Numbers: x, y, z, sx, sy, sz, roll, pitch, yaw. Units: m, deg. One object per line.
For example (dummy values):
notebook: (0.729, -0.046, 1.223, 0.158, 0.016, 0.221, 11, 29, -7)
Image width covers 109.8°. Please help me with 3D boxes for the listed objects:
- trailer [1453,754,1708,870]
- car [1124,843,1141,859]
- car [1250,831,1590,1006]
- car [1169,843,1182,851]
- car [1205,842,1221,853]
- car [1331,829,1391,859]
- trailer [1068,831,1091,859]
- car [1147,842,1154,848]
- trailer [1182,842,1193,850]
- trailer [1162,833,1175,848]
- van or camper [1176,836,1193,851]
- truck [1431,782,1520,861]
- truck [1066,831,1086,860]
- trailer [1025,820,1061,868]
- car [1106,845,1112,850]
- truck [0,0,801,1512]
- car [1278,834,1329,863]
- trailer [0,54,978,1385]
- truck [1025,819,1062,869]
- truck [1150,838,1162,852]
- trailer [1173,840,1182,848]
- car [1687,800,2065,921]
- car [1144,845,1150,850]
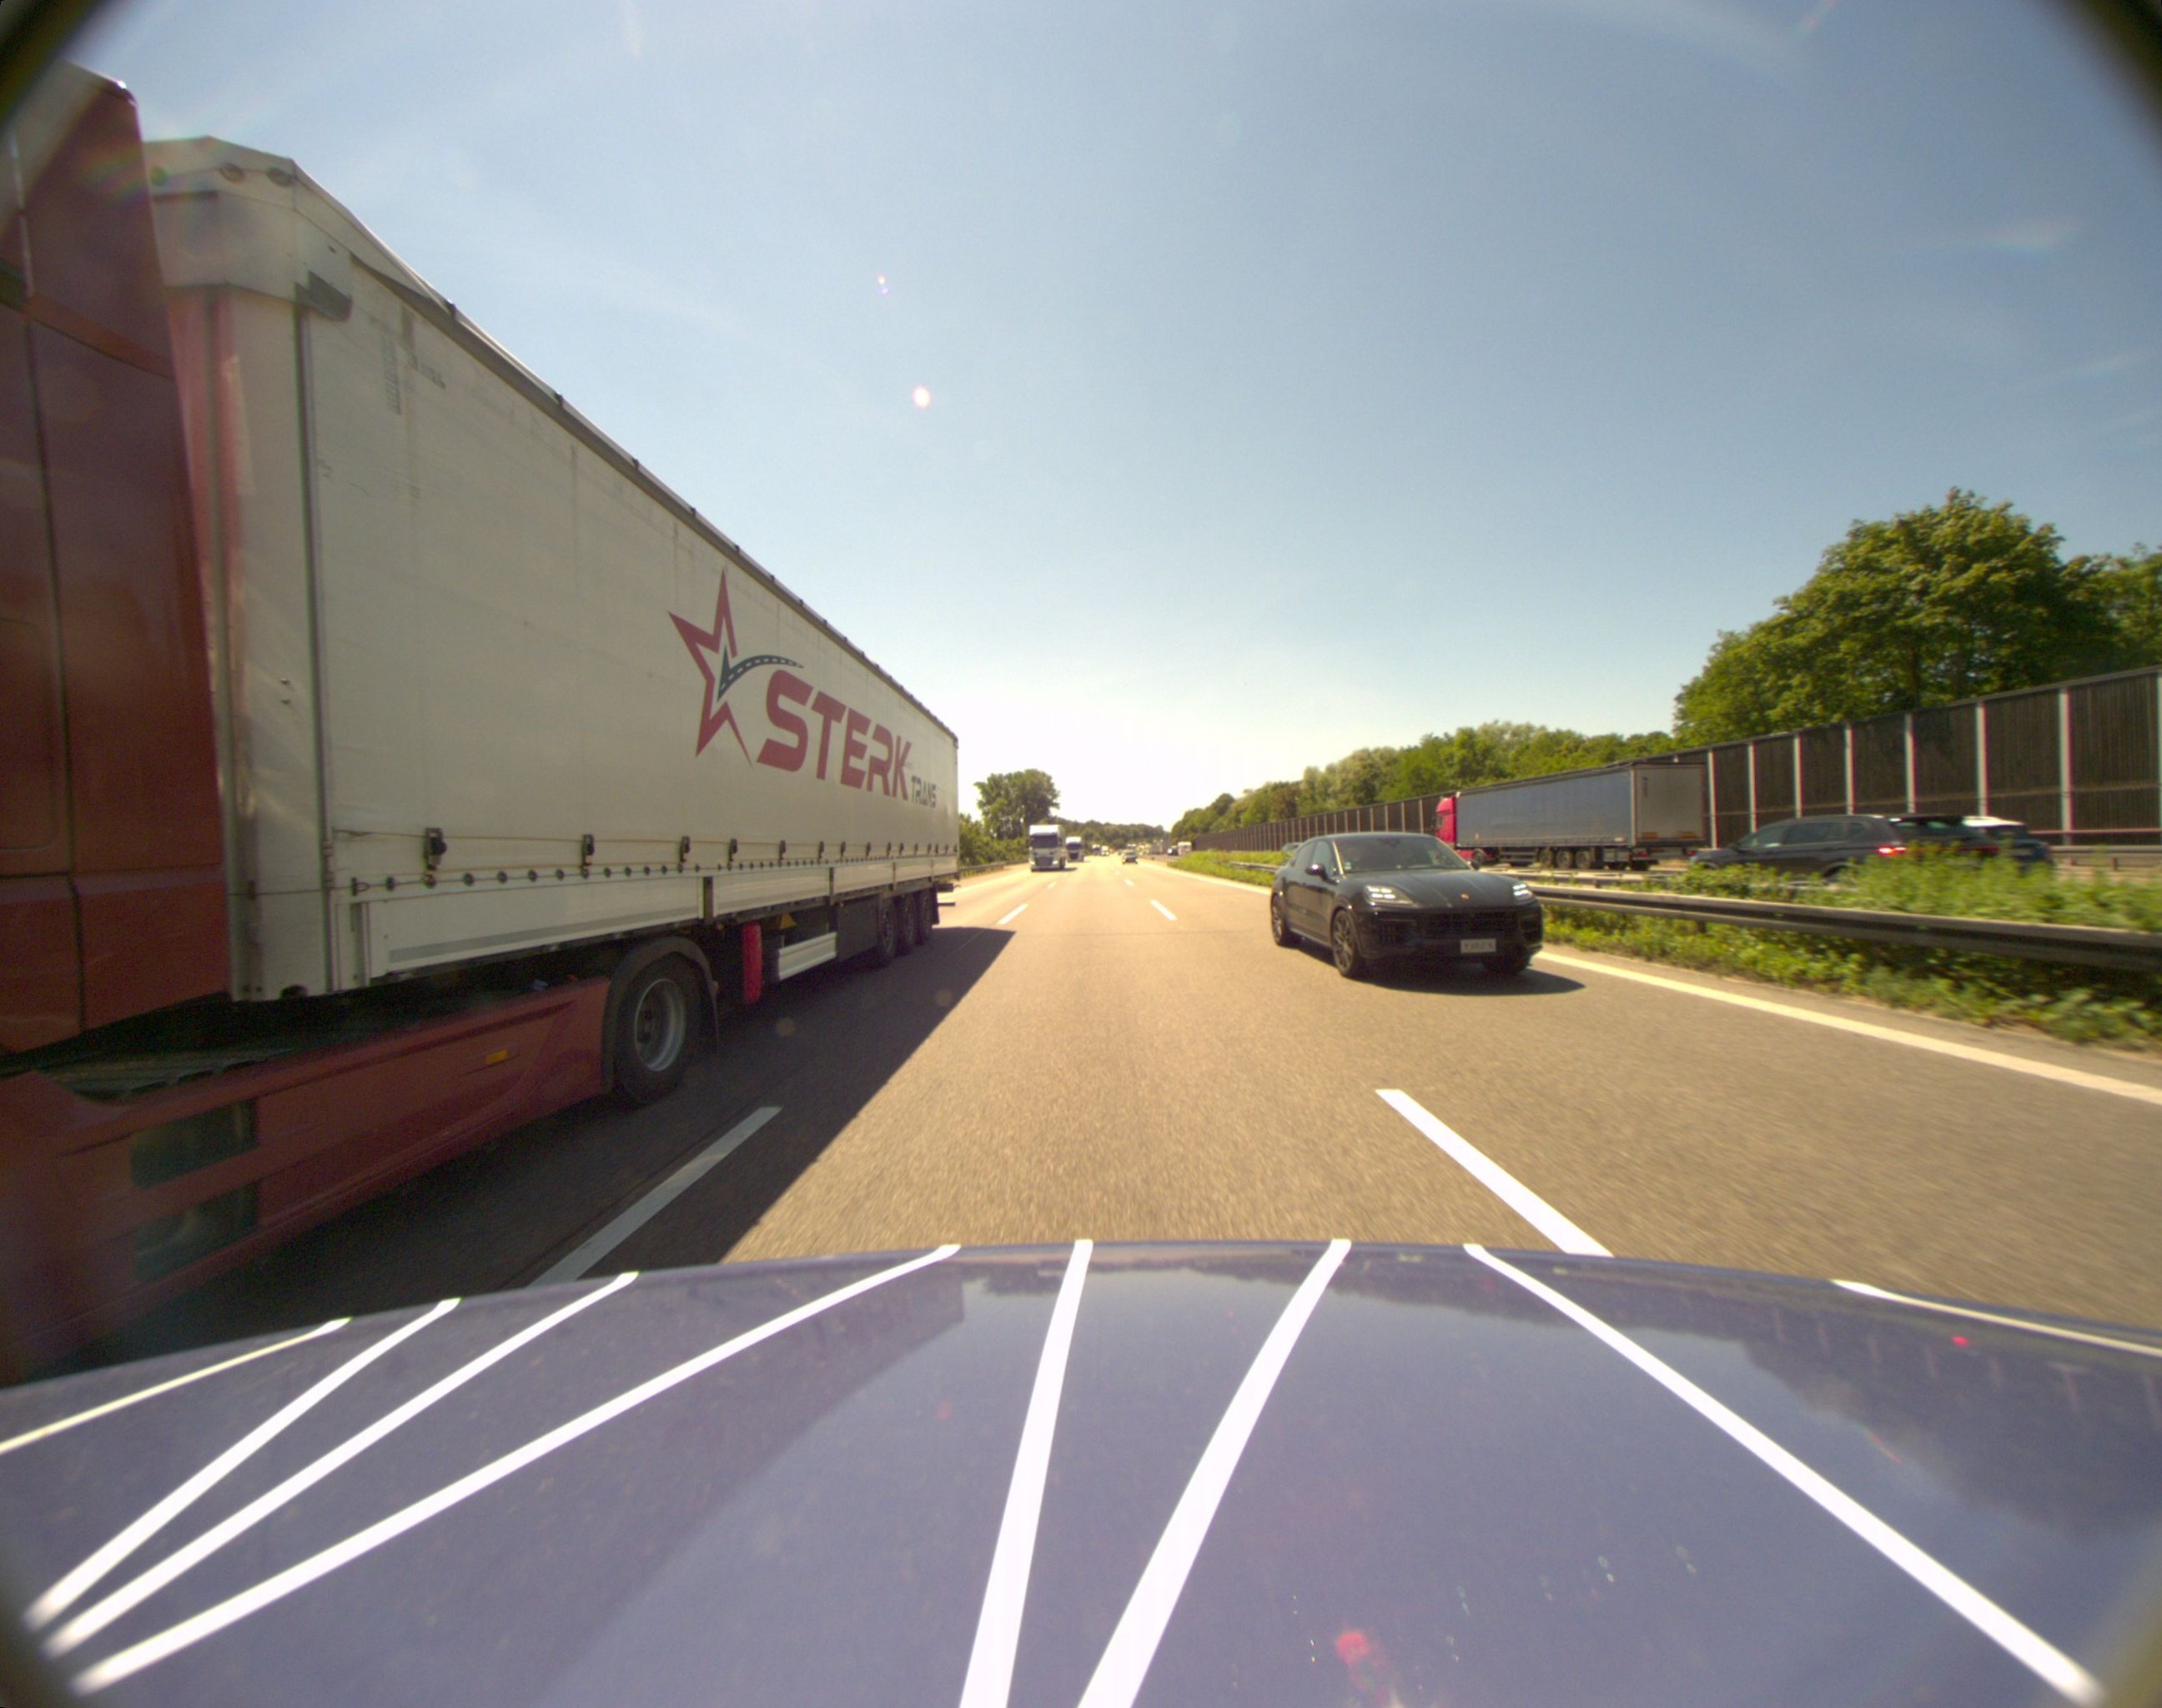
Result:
trailer: (21.397, -1.610, 34.358, 2.502, 4.064, 14.269, -2, 1, 2)
car: (6.130, -0.366, 90.817, 1.909, 1.717, 4.376, -2, 1, 3)
car: (3.858, 0.591, 10.101, 2.048, 1.616, 5.771, -2, 1, 1)
car: (16.342, -1.224, 131.626, 1.710, 1.347, 4.000, -2, 1, 1)
car: (20.188, -0.954, 116.275, 1.818, 1.590, 4.000, -2, 1, 1)
car: (18.218, -0.653, 49.763, 1.998, 1.805, 5.219, -2, 1, 1)
trailer: (-0.161, -1.490, 130.066, 2.541, 4.446, 14.164, -2, 1, 5)
car: (20.566, -2.685, 224.613, 1.923, 1.537, 4.582, -2, 1, 4)
trailer: (22.210, -1.583, 158.868, 1.731, 1.569, 3.092, 4, 1, 1)
trailer: (24.738, -3.780, 215.572, 2.346, 4.053, 14.210, -2, 1, 2)
van or camper: (22.292, -2.235, 164.069, 2.564, 2.897, 7.374, 4, 1, 1)
truck: (21.610, -1.712, 41.867, 2.493, 4.064, 4.677, -2, 1, 1)
truck: (-0.770, -1.393, 123.551, 2.541, 4.446, 5.574, -2, 1, 5)
trailer: (-3.444, -0.899, 72.258, 2.967, 4.082, 12.529, -2, 1, -1)
car: (8.917, -2.046, 241.286, 1.908, 1.717, 4.377, -2, 1, 5)
truck: (-4.044, -0.376, 3.248, 2.713, 4.065, 6.964, -2, 1, 2)
car: (14.111, -0.362, 48.463, 1.998, 1.710, 4.244, -2, 1, 1)
trailer: (-3.864, -0.420, 9.440, 2.714, 4.065, 14.150, -2, 1, 2)
truck: (-3.222, -0.856, 66.557, 2.967, 4.082, 6.205, -2, 1, -1)
truck: (18.501, -2.266, 188.249, 2.416, 3.333, 6.919, -2, 1, 1)
trailer: (30.053, -3.030, 237.524, 2.136, 2.462, 6.268, -2, 0, 1)
car: (13.576, 0.064, 13.511, 1.998, 1.710, 4.532, -2, 1, 1)
car: (22.942, -2.362, 264.784, 1.809, 1.535, 4.246, -2, 1, 2)
